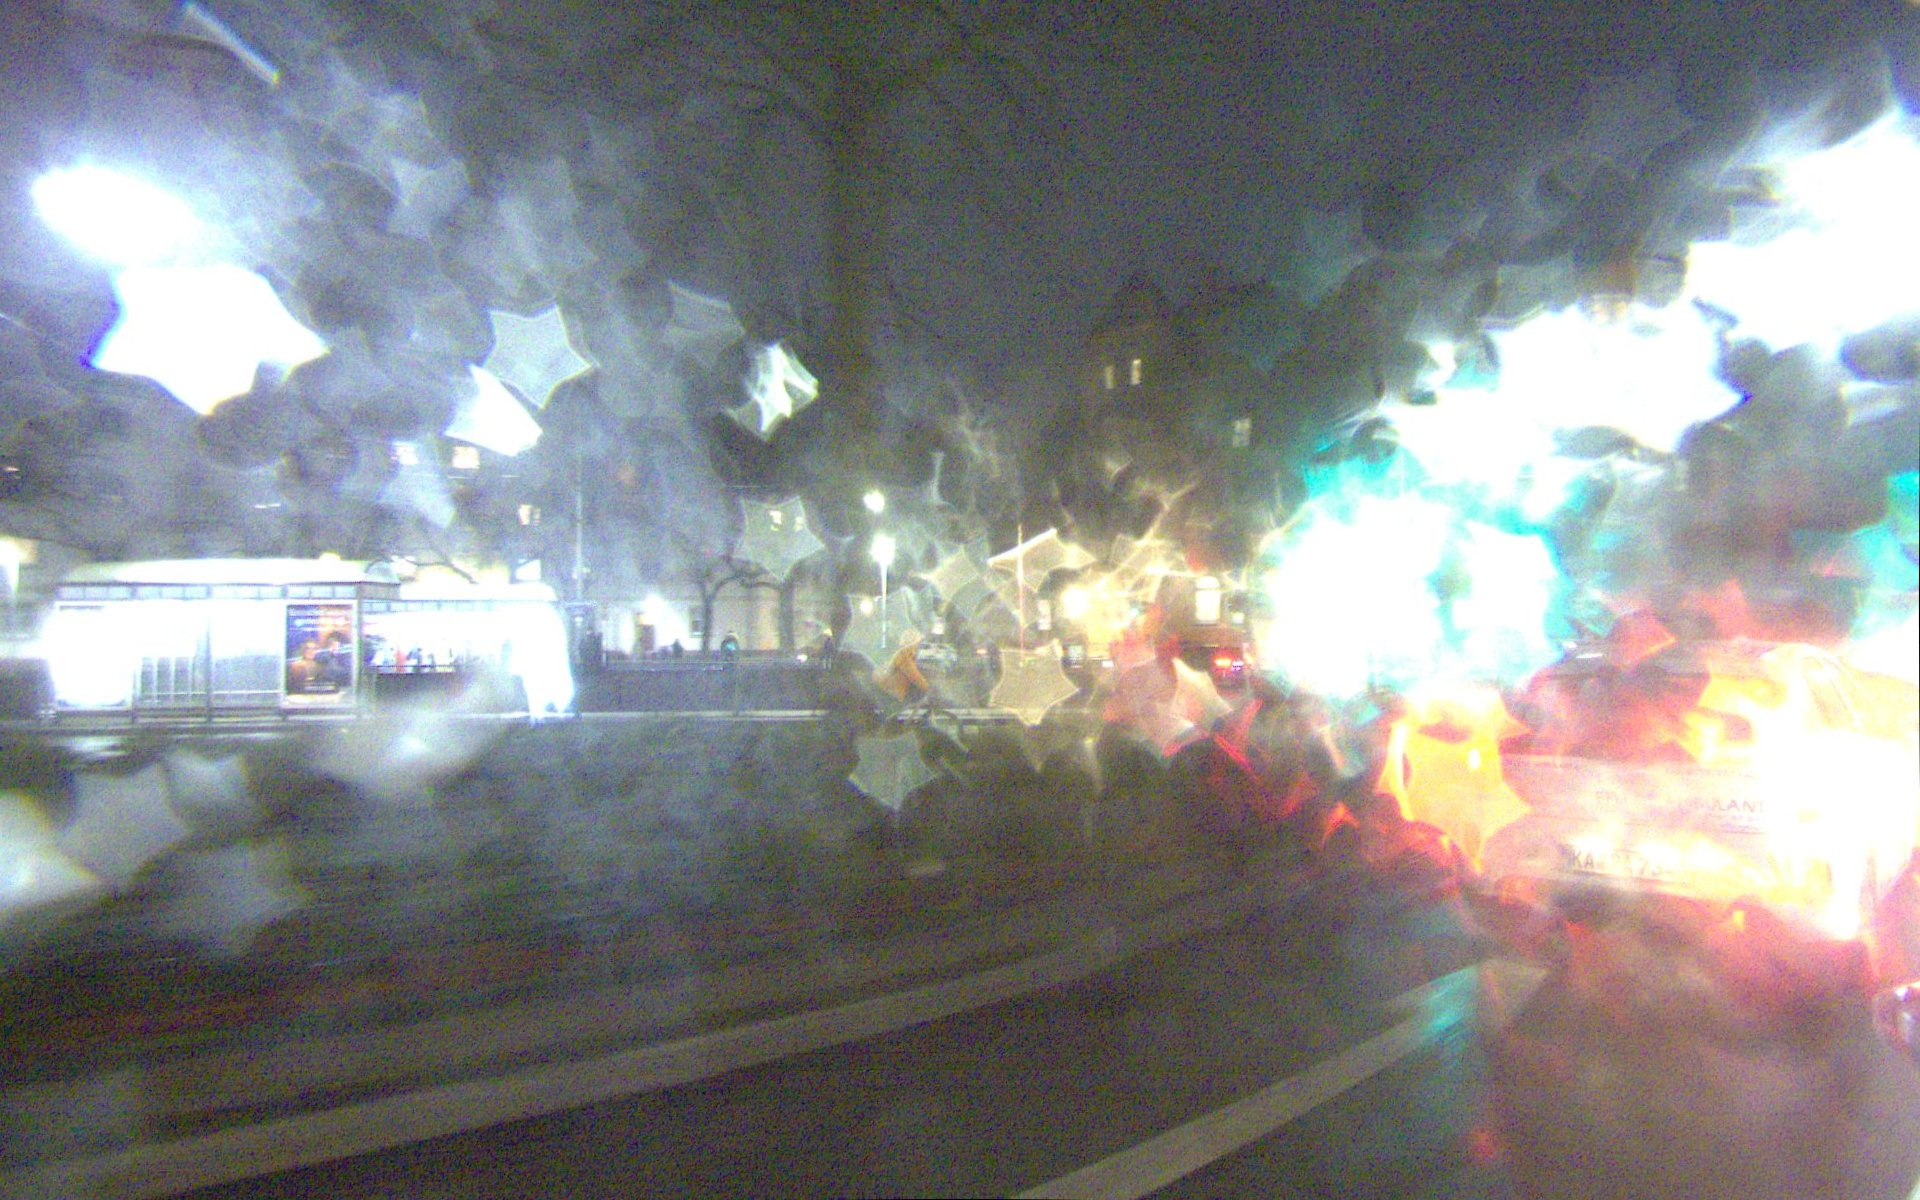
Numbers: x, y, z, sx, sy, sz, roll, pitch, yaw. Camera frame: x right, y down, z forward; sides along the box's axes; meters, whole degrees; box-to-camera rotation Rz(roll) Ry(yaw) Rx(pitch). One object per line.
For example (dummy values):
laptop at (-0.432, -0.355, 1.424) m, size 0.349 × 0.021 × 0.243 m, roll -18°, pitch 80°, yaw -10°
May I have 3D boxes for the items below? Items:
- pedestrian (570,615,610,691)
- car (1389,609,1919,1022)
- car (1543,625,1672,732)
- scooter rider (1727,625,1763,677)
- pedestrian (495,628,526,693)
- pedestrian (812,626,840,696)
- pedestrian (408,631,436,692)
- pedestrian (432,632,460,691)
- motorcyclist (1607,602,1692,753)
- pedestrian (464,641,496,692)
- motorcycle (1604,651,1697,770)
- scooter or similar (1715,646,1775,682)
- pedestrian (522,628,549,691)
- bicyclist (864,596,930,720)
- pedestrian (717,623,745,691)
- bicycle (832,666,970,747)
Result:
pedestrian at (-9.963, 1.428, 27.065) m, size 0.843 × 2.013 × 0.609 m, roll 1°, pitch 1°, yaw -5°
car at (4.183, 0.875, 5.675) m, size 3.571 × 1.535 × 1.902 m, roll 1°, pitch -3°, yaw -42°
car at (12.083, 1.385, 18.949) m, size 1.722 × 1.762 × 3.794 m, roll 1°, pitch -1°, yaw 28°
scooter rider at (24.807, 1.612, 31.766) m, size 0.639 × 1.594 × 0.642 m, roll 1°, pitch 1°, yaw 8°
pedestrian at (-11.850, 1.586, 26.494) m, size 0.577 × 1.674 × 0.556 m, roll 1°, pitch 1°, yaw 44°
pedestrian at (-3.531, 1.598, 26.527) m, size 0.658 × 1.798 × 0.717 m, roll 1°, pitch 1°, yaw -2°
pedestrian at (-14.221, 1.623, 26.545) m, size 0.566 × 1.568 × 0.509 m, roll 1°, pitch 1°, yaw -20°
pedestrian at (-13.694, 1.627, 26.768) m, size 0.577 × 1.548 × 0.477 m, roll 1°, pitch 1°, yaw -20°
motorcyclist at (8.228, 0.896, 12.023) m, size 0.778 × 1.717 × 0.818 m, roll 1°, pitch -1°, yaw 32°
pedestrian at (-12.700, 1.751, 26.578) m, size 0.577 × 1.270 × 0.620 m, roll 1°, pitch 1°, yaw 44°
motorcycle at (8.200, 1.252, 12.004) m, size 0.778 × 1.229 × 2.245 m, roll 1°, pitch -1°, yaw 31°
scooter or similar at (24.811, 2.018, 31.770) m, size 1.341 × 1.066 × 0.642 m, roll 1°, pitch 0°, yaw 8°
pedestrian at (-11.332, 1.584, 26.826) m, size 0.394 × 1.651 × 0.530 m, roll 1°, pitch 1°, yaw 44°
bicyclist at (-0.830, 0.738, 13.048) m, size 0.801 × 1.568 × 0.571 m, roll 1°, pitch 0°, yaw -8°
pedestrian at (-6.197, 1.529, 27.229) m, size 0.705 × 1.798 × 0.669 m, roll 1°, pitch 1°, yaw -12°
bicycle at (-0.780, 1.375, 13.054) m, size 1.748 × 0.982 × 0.571 m, roll 1°, pitch 0°, yaw -8°
